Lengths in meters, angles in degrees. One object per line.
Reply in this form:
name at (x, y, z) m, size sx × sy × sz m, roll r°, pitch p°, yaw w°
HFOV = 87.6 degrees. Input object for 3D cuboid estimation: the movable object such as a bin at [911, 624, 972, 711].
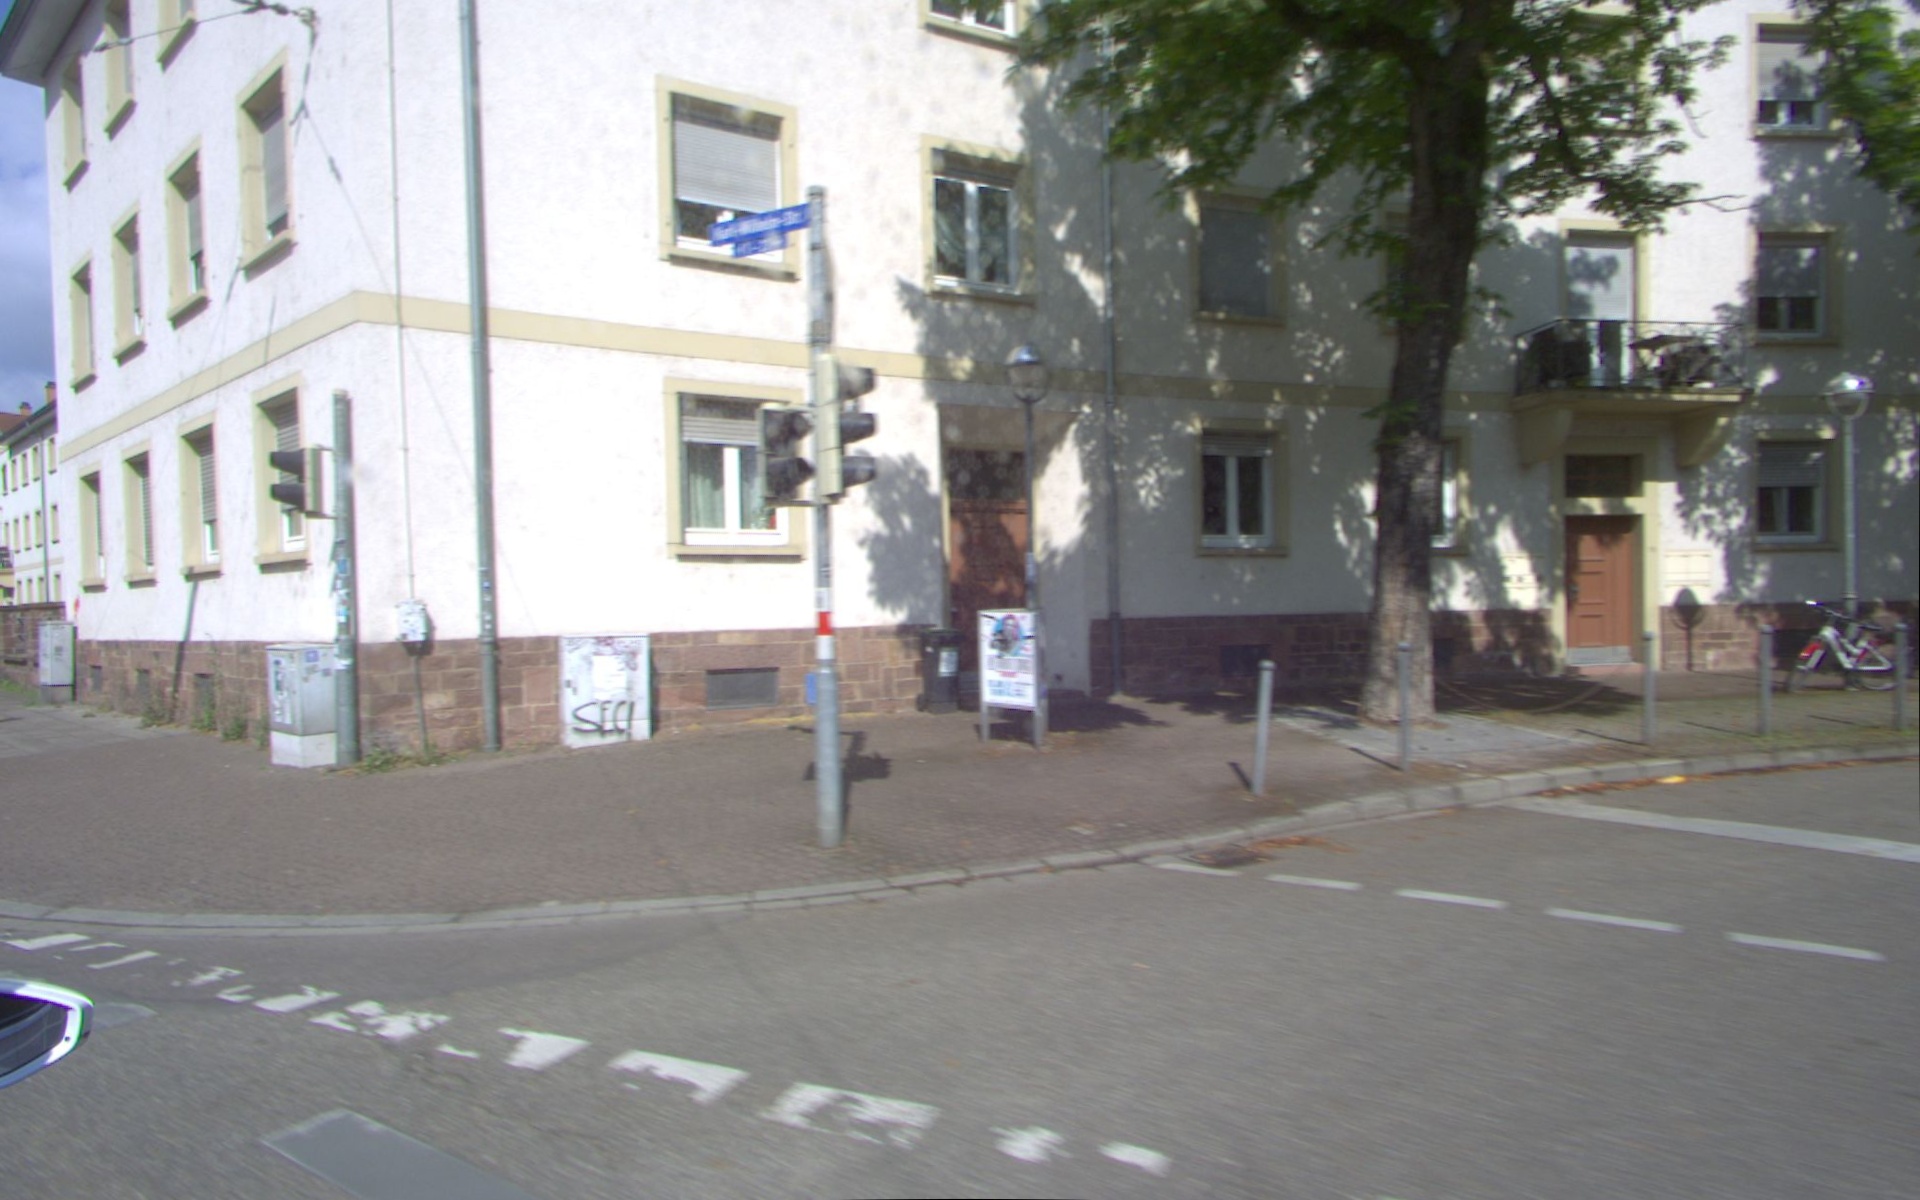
movable object such as a bin at (-0.216, 0.750, 11.359) m, size 0.489 × 0.938 × 0.573 m, roll -1°, pitch 1°, yaw -26°

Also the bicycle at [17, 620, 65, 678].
bicycle at (-20.137, 1.065, 21.936) m, size 1.472 × 1.216 × 0.502 m, roll -1°, pitch 1°, yaw 38°

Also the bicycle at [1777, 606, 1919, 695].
bicycle at (10.750, 0.601, 12.123) m, size 1.447 × 1.024 × 0.301 m, roll -1°, pitch 4°, yaw -1°
